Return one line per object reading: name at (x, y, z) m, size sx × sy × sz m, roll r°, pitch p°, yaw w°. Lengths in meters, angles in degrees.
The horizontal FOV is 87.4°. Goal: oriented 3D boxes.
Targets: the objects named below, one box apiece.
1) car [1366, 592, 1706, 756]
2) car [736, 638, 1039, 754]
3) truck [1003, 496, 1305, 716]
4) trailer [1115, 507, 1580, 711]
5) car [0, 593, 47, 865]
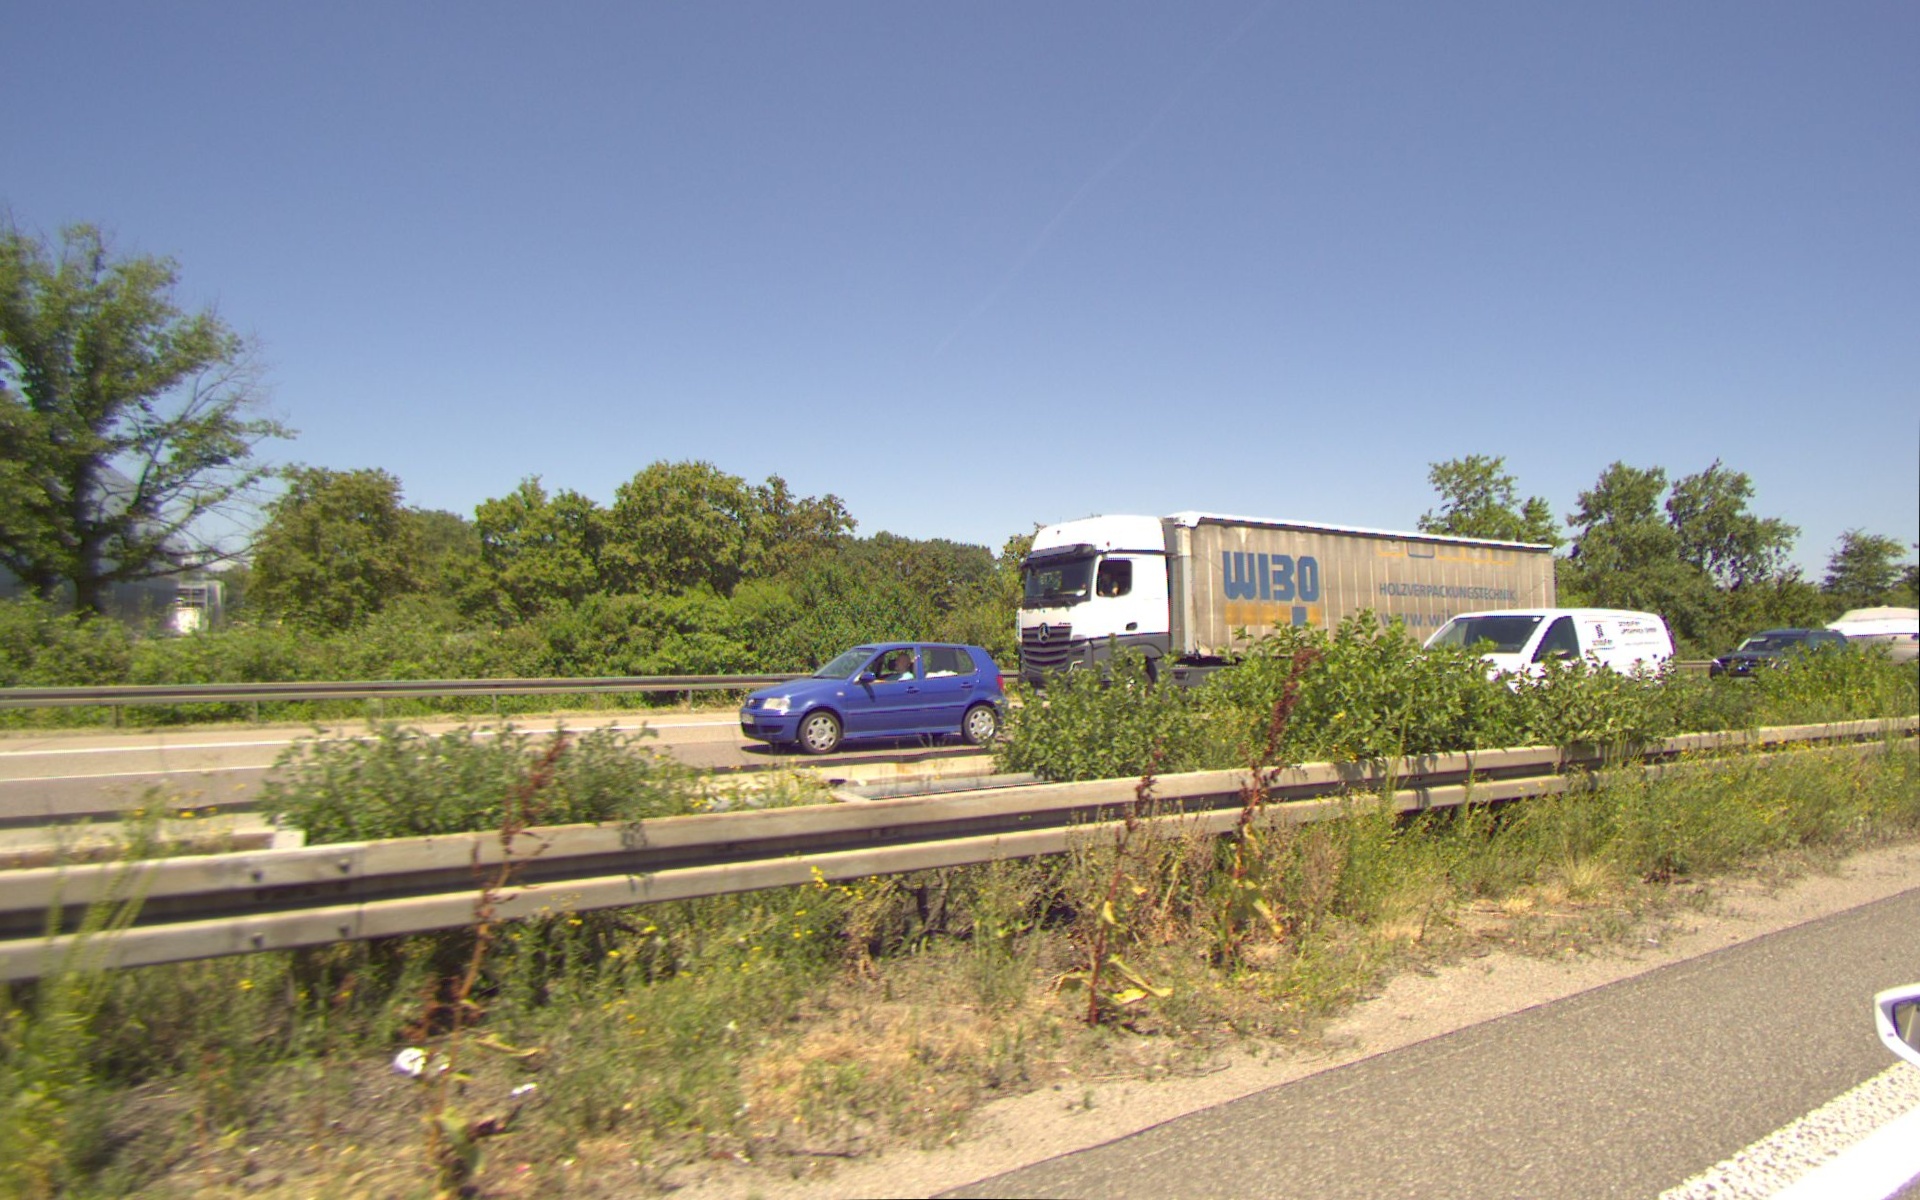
car at (8.698, 1.005, 15.006) m, size 5.427 × 2.058 × 1.983 m, roll 2°, pitch 0°, yaw -31°
car at (-0.952, 1.272, 13.883) m, size 3.922 × 1.404 × 1.565 m, roll 2°, pitch -4°, yaw -31°
truck at (4.215, 0.250, 21.653) m, size 6.079 × 4.156 × 2.745 m, roll 2°, pitch -4°, yaw -30°
trailer at (10.212, 0.427, 25.170) m, size 13.886 × 4.156 × 2.745 m, roll 2°, pitch -4°, yaw -30°
car at (-8.093, 0.769, 5.122) m, size 4.749 × 1.716 × 1.948 m, roll 2°, pitch 0°, yaw -32°
